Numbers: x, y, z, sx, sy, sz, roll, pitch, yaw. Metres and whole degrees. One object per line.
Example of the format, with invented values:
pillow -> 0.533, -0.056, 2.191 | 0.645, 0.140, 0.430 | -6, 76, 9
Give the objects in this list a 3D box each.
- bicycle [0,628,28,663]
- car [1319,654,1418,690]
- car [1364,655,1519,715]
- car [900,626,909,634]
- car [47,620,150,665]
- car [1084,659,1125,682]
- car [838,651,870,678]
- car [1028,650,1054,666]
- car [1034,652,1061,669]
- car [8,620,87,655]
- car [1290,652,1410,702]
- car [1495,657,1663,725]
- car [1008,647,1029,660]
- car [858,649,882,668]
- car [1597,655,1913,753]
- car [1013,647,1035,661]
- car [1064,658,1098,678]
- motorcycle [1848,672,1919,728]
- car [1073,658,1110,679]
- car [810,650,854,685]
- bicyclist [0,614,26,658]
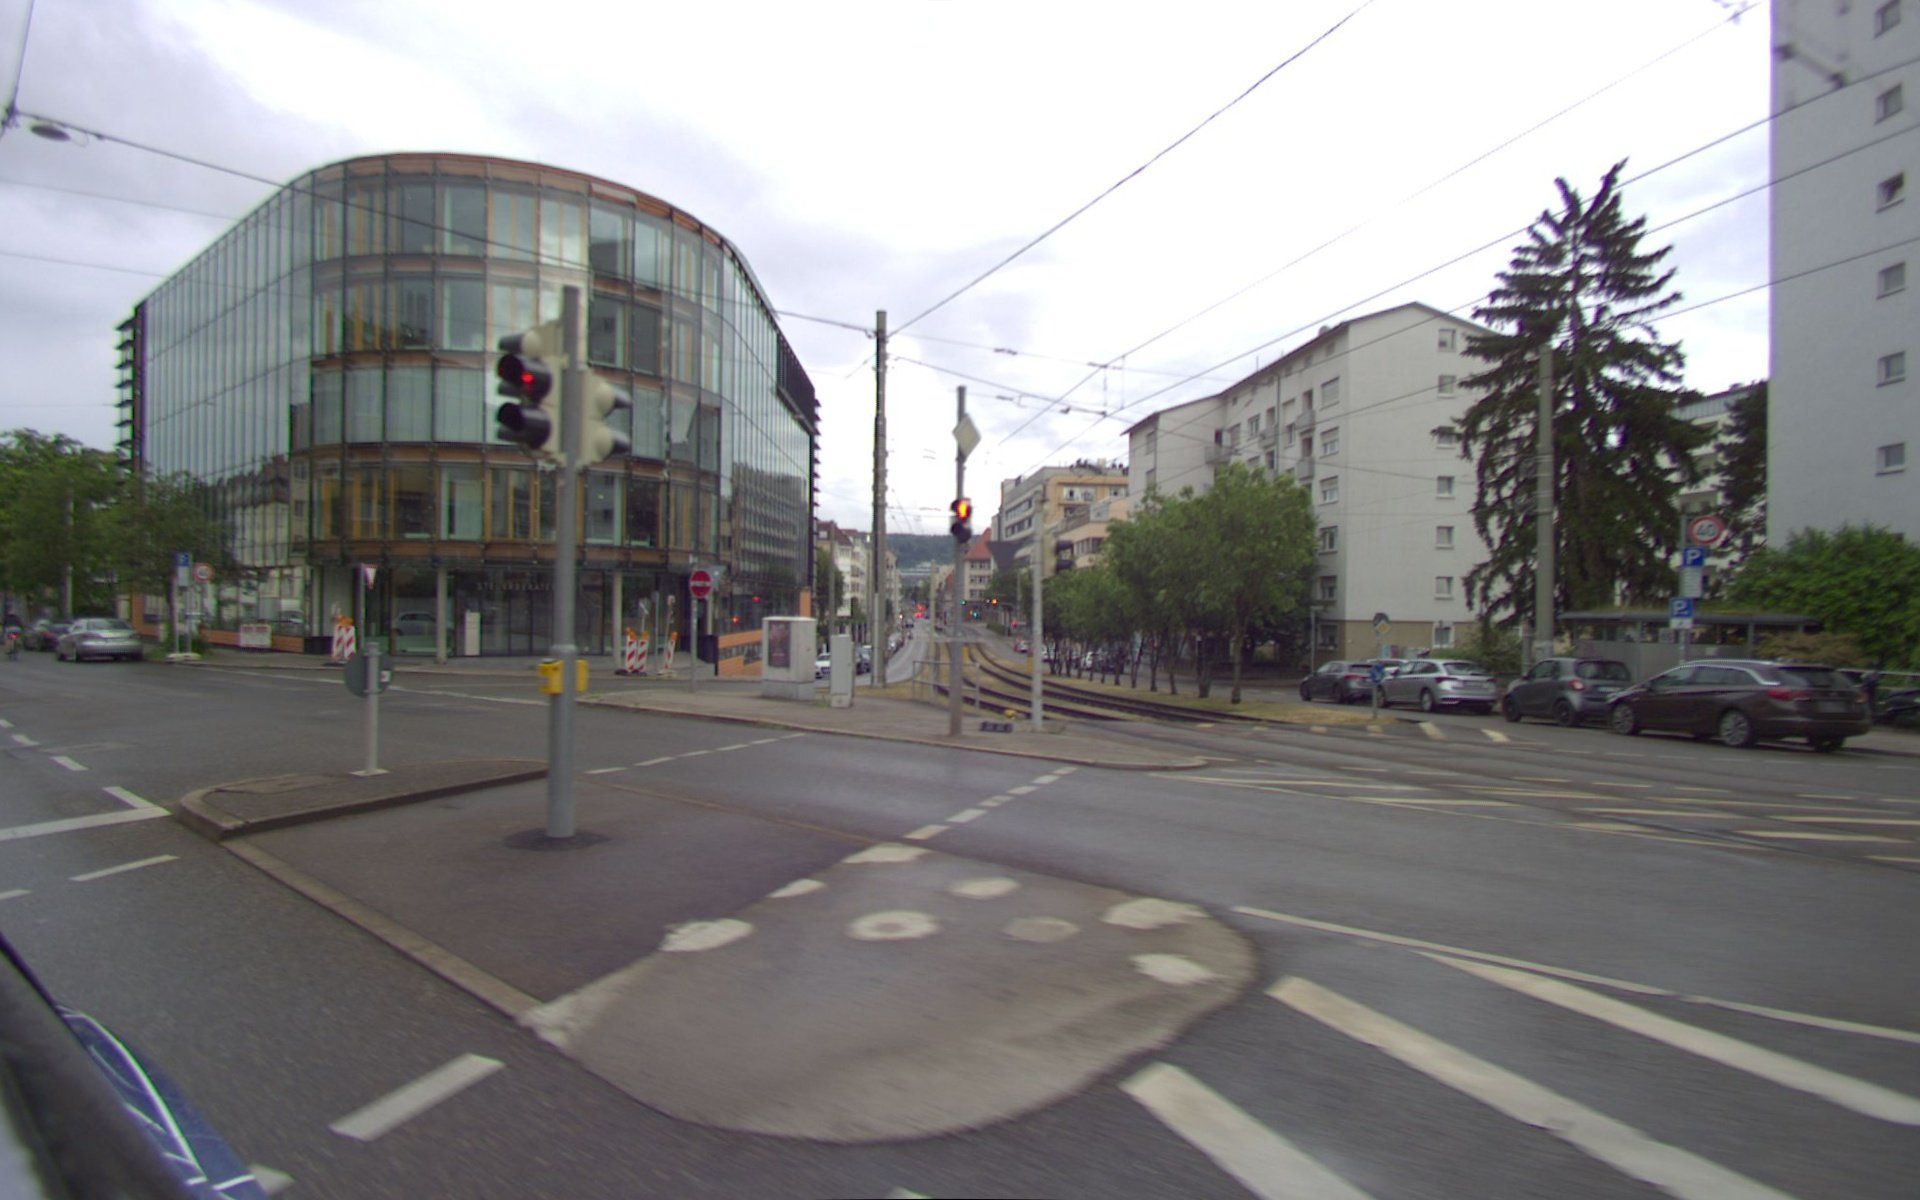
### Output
bicycle -> -33.400, 1.577, 35.475 | 2.126, 1.157, 0.815 | 1, 0, 41
car -> 20.326, 3.565, 50.450 | 4.128, 1.574, 2.003 | 0, 1, -5
car -> 13.319, 2.313, 28.328 | 1.970, 1.519, 4.315 | -1, -3, -4
car -> -12.284, 6.667, 226.041 | 1.890, 1.763, 4.001 | 0, 1, -1
car -> -29.023, 1.378, 34.044 | 4.640, 1.405, 1.839 | -1, -2, 40
car -> 10.260, 5.055, 72.150 | 1.970, 1.520, 4.315 | -1, -5, -4
car -> -7.287, 4.487, 70.087 | 1.890, 1.763, 4.000 | 0, -5, -1
car -> 8.484, 6.113, 105.979 | 1.970, 1.520, 4.704 | -1, -5, -4
car -> 8.645, 6.039, 100.494 | 1.970, 1.520, 4.315 | -1, -5, -4
car -> -40.273, 1.637, 44.639 | 4.322, 1.475, 1.707 | -1, -2, 36
car -> 12.755, 2.556, 33.410 | 1.970, 1.520, 4.315 | -1, -5, -4
car -> 13.664, 1.977, 22.530 | 1.783, 1.403, 2.895 | 0, -3, -4
car -> 7.184, 6.633, 124.982 | 1.970, 1.520, 4.315 | -1, -5, -4
car -> -7.477, 4.890, 84.538 | 1.764, 1.521, 4.000 | 0, -3, -1
car -> 13.804, 1.737, 18.014 | 1.846, 1.472, 4.495 | 2, -3, -4
car -> 7.542, 6.404, 120.116 | 1.970, 1.520, 4.315 | -1, -5, -4
car -> 9.823, 5.602, 82.494 | 1.970, 1.520, 4.315 | -1, -5, -4
motorcycle -> 18.046, 1.882, 18.939 | 0.767, 0.947, 2.237 | -2, -2, -3
car -> 10.101, 5.281, 77.814 | 1.970, 1.520, 4.315 | -1, -5, -4
car -> -6.724, 3.524, 53.486 | 1.890, 1.507, 4.001 | 0, 1, -1
bicyclist -> -33.399, 1.246, 35.486 | 1.139, 1.473, 0.816 | 0, 1, 41
